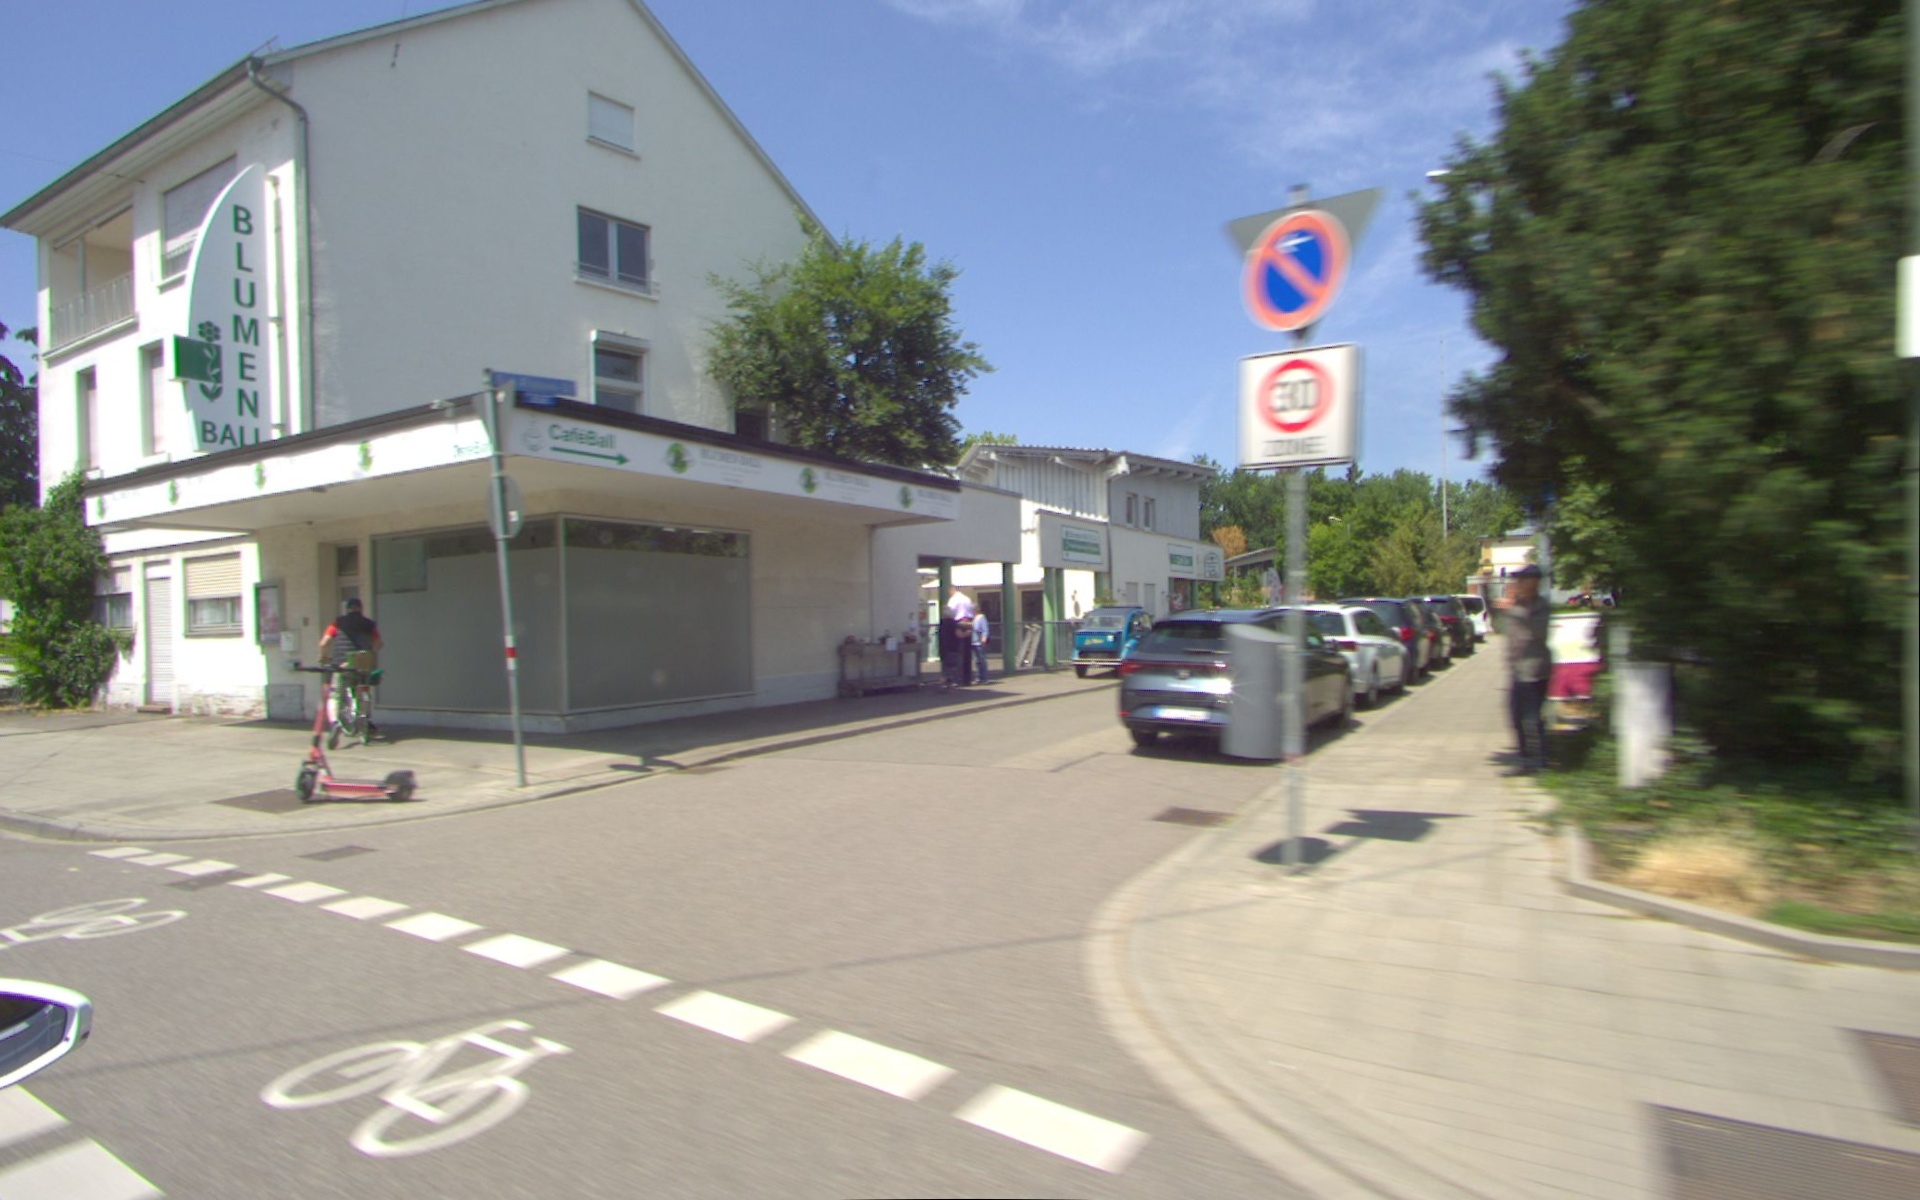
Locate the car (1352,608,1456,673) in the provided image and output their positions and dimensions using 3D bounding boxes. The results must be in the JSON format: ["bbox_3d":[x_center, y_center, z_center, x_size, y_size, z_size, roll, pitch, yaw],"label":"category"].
[{"bbox_3d":[10.735,0.924,24.044,1.824,1.371,4.273,-2,-1,30],"label":"car"}]

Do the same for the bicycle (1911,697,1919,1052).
[{"bbox_3d":[3.822,0.869,2.674,0.663,1.016,1.845,-7,4,-44],"label":"bicycle"}]

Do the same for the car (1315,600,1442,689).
[{"bbox_3d":[8.313,0.791,19.734,1.686,1.584,3.683,0,0,33],"label":"car"}]

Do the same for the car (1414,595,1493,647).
[{"bbox_3d":[19.912,0.841,40.569,1.839,1.924,4.660,-2,-1,14],"label":"car"}]

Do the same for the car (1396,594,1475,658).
[{"bbox_3d":[13.901,0.728,29.172,1.759,1.720,3.675,-2,-1,30],"label":"car"}]

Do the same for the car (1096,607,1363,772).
[{"bbox_3d":[3.178,0.815,11.176,1.686,1.450,4.216,0,0,33],"label":"car"}]

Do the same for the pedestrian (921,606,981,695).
[{"bbox_3d":[-0.151,0.895,18.268,0.697,1.563,0.909,2,2,32],"label":"pedestrian"}]

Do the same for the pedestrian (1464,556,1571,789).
[{"bbox_3d":[4.103,0.516,7.364,0.620,1.611,0.601,-2,-1,32],"label":"pedestrian"}]

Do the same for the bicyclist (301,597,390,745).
[{"bbox_3d":[-7.809,0.872,12.715,0.914,1.784,0.723,-1,0,43],"label":"bicyclist"}]

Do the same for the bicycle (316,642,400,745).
[{"bbox_3d":[-7.681,1.147,12.744,1.884,1.213,0.373,-2,0,43],"label":"bicycle"}]

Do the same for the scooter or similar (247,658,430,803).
[{"bbox_3d":[-5.381,1.124,8.680,1.440,1.193,0.340,-2,0,8],"label":"scooter or similar"}]

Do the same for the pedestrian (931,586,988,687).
[{"bbox_3d":[0.003,0.711,19.672,0.739,1.928,0.854,-2,0,32],"label":"pedestrian"}]

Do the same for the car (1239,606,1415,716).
[{"bbox_3d":[5.864,0.835,15.682,1.686,1.450,4.317,0,0,33],"label":"car"}]

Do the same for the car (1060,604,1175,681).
[{"bbox_3d":[3.763,0.915,23.381,1.565,1.639,3.986,0,0,26],"label":"car"}]

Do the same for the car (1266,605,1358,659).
[{"bbox_3d":[11.185,0.982,31.703,1.971,1.549,3.980,-2,-1,31],"label":"car"}]

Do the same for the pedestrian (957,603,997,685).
[{"bbox_3d":[0.347,0.893,20.365,0.618,1.633,0.475,-2,0,33],"label":"pedestrian"}]
